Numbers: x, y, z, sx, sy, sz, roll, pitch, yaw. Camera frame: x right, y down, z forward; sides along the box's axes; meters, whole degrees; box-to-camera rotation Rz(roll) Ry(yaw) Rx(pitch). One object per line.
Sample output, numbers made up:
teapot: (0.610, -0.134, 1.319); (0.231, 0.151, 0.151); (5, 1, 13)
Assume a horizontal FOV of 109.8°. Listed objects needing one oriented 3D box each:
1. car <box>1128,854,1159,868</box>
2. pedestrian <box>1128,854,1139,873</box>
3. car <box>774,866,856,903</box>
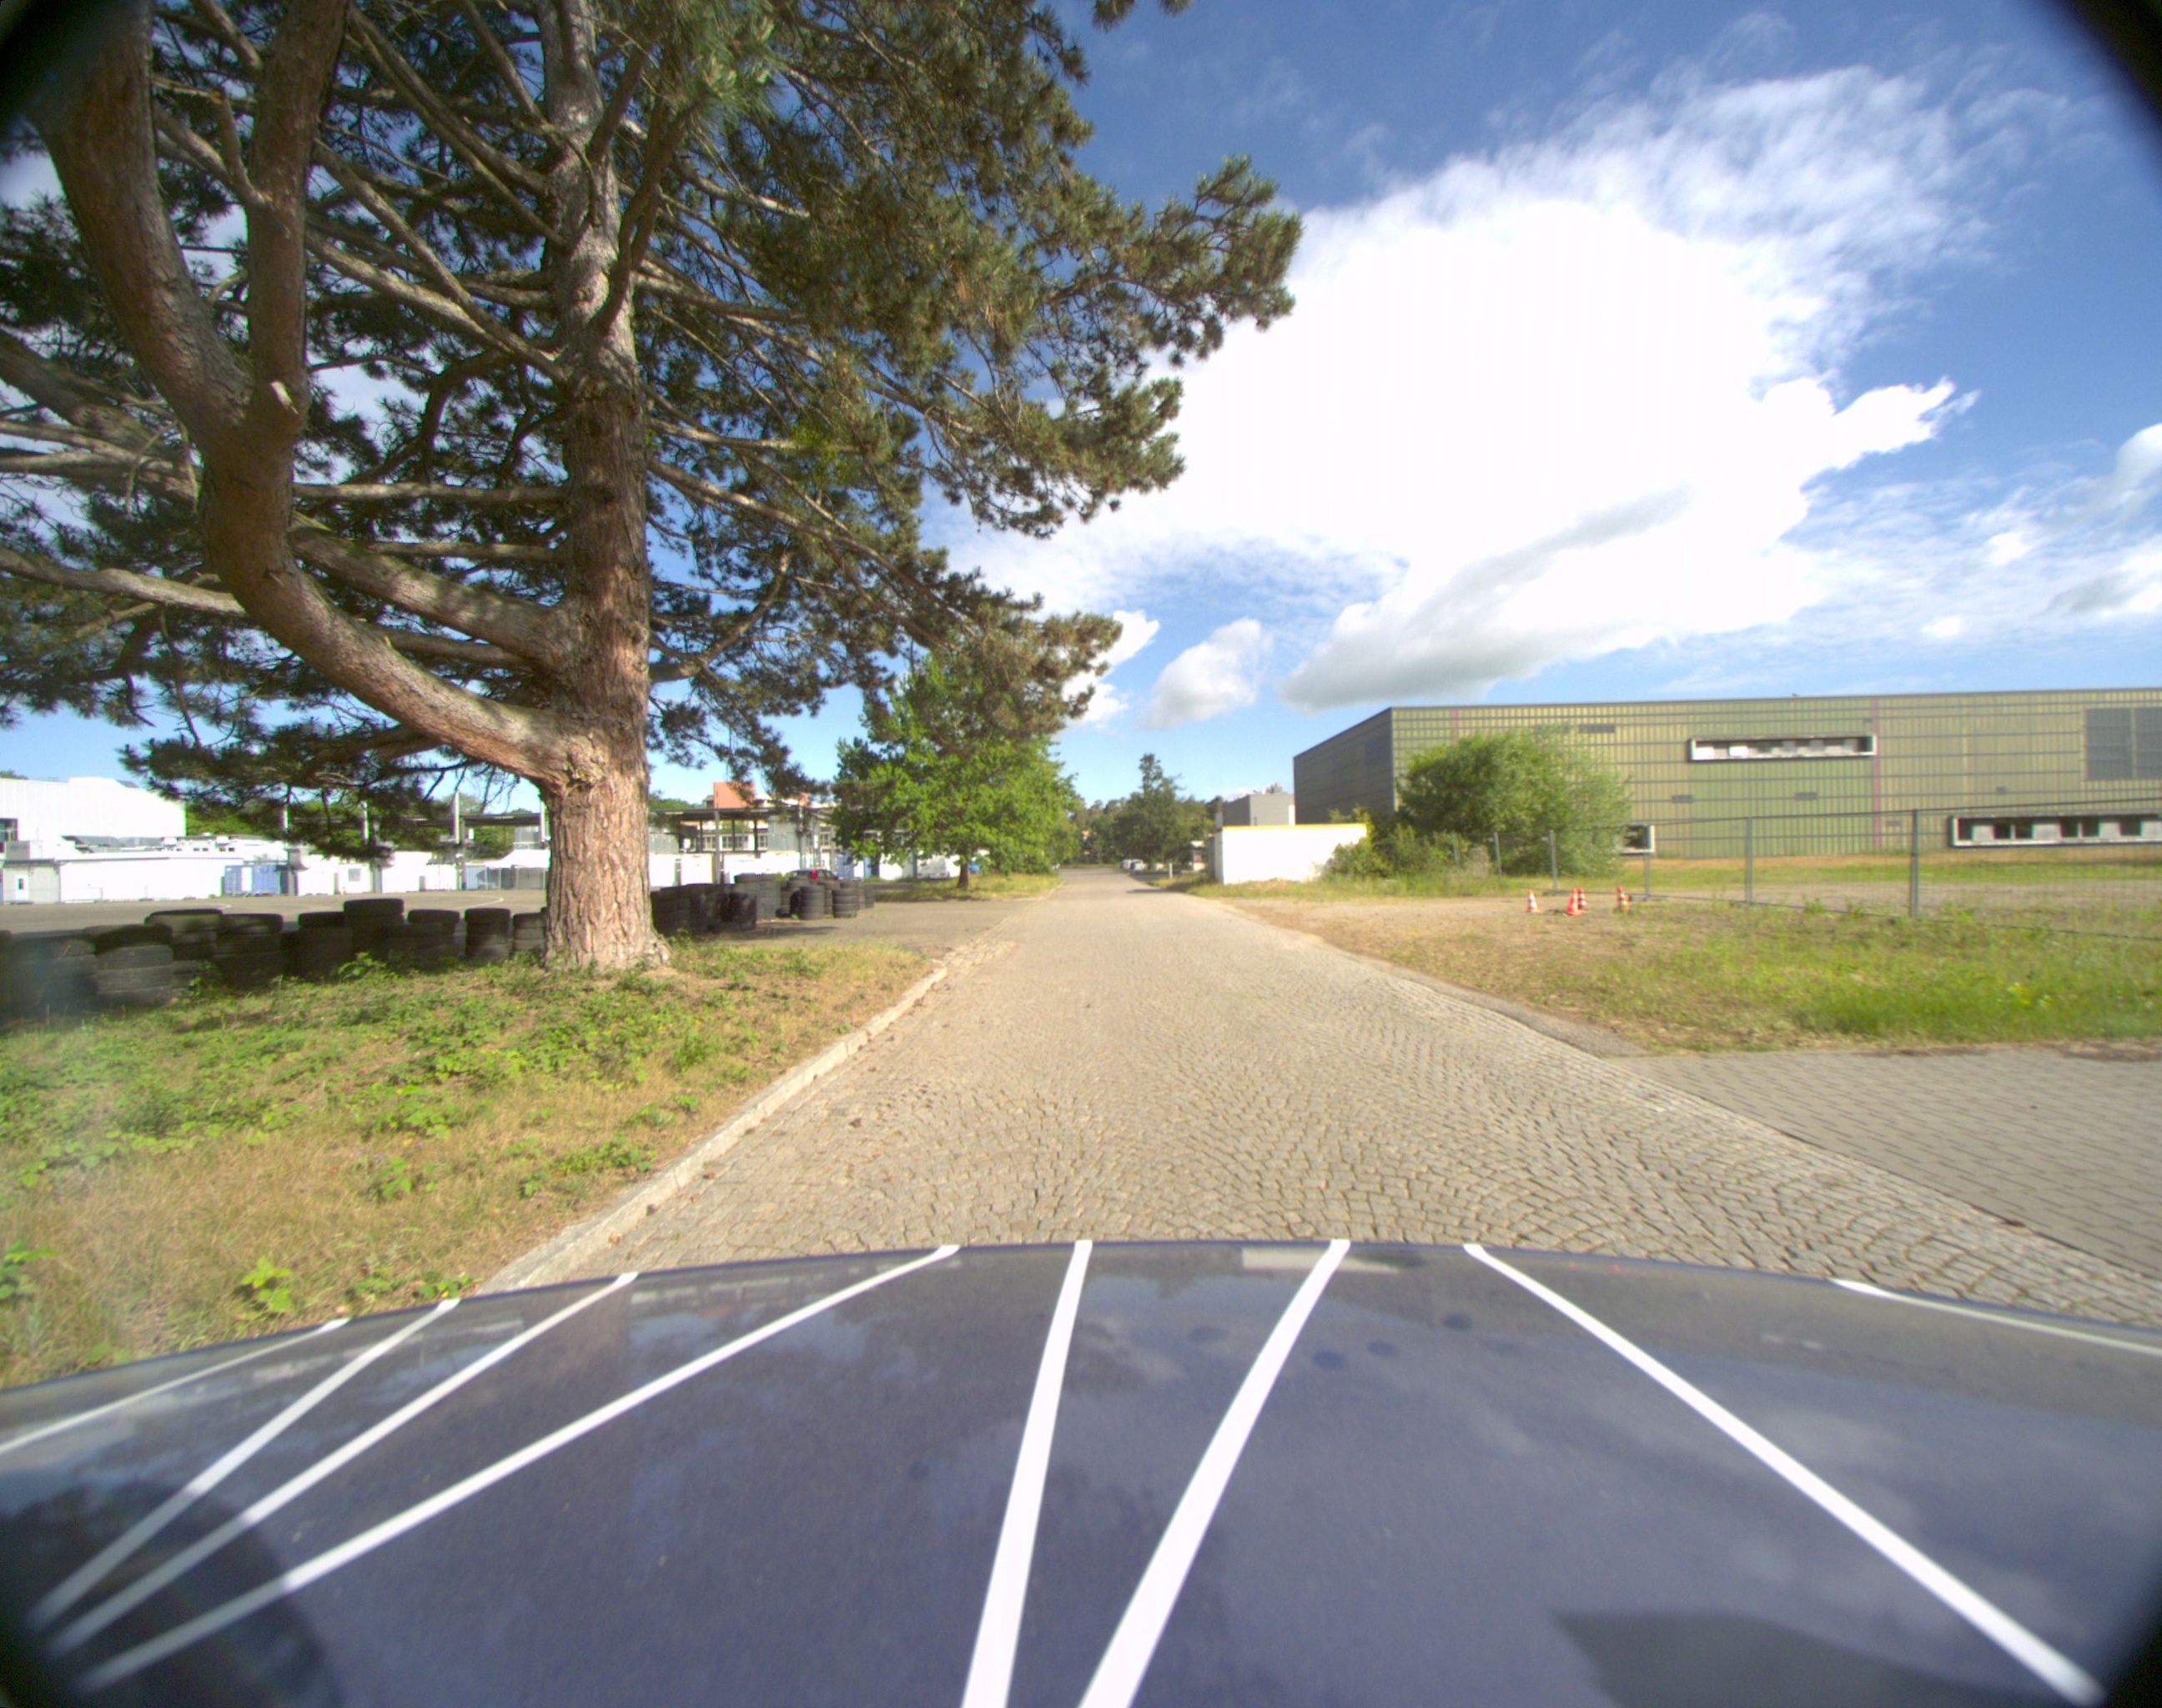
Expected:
car: (8.116, 0.944, 99.342); (3.996, 1.678, 2.001); (-1, 0, 4)
pedestrian: (5.072, 0.895, 73.642); (0.908, 1.796, 0.983); (-1, 0, -6)
car: (-11.762, 1.326, 33.866); (1.846, 1.440, 4.002); (-1, 0, 7)
